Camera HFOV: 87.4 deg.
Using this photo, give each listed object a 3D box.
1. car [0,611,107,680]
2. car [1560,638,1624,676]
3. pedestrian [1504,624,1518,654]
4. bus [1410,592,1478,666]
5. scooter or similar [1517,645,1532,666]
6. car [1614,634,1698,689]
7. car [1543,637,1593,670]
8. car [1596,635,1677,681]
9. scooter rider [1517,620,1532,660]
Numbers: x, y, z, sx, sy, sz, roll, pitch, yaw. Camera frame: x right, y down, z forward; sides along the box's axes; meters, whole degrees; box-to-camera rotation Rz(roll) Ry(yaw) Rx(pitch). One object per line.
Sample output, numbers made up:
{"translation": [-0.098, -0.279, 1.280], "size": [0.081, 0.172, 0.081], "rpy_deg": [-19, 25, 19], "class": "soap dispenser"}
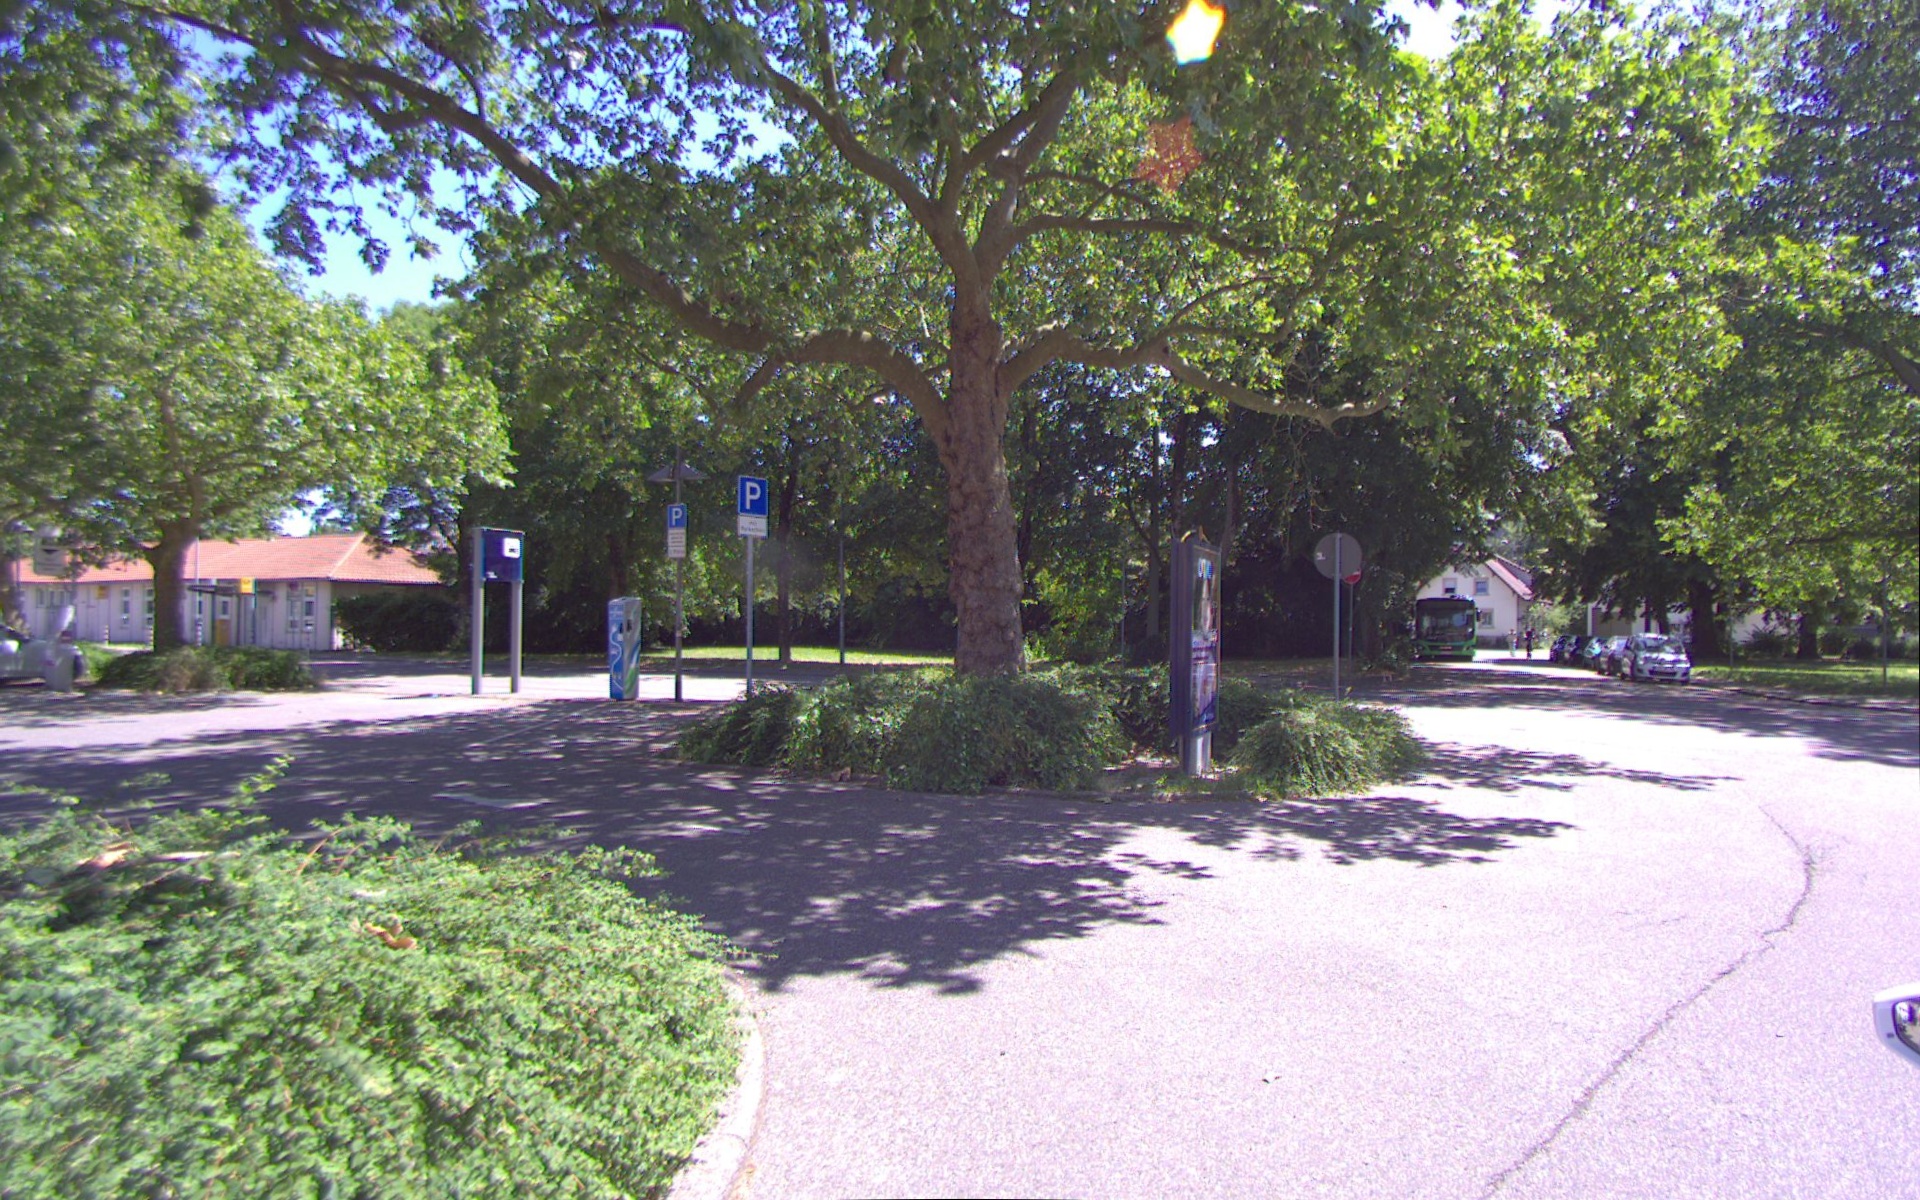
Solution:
{"translation": [-20.600, 0.925, 20.613], "size": [1.750, 1.435, 4.781], "rpy_deg": [1, -1, 6], "class": "car"}
{"translation": [26.816, 2.373, 42.768], "size": [1.723, 1.458, 4.766], "rpy_deg": [0, -1, 25], "class": "car"}
{"translation": [33.878, 2.373, 61.733], "size": [0.709, 1.826, 0.939], "rpy_deg": [0, -1, 31], "class": "pedestrian"}
{"translation": [25.606, 1.525, 53.378], "size": [2.823, 3.338, 15.938], "rpy_deg": [0, -2, 25], "class": "bus"}
{"translation": [33.202, 3.237, 59.083], "size": [0.727, 1.199, 1.517], "rpy_deg": [0, -1, 27], "class": "scooter or similar"}
{"translation": [21.834, 1.886, 31.633], "size": [1.570, 1.517, 3.483], "rpy_deg": [2, -1, 25], "class": "car"}
{"translation": [30.665, 2.658, 50.716], "size": [1.727, 1.513, 3.915], "rpy_deg": [0, -1, 25], "class": "car"}
{"translation": [24.412, 2.031, 36.369], "size": [1.723, 1.458, 4.499], "rpy_deg": [1, -1, 25], "class": "car"}
{"translation": [33.216, 2.326, 59.105], "size": [0.727, 2.348, 0.926], "rpy_deg": [0, -1, 27], "class": "scooter rider"}
